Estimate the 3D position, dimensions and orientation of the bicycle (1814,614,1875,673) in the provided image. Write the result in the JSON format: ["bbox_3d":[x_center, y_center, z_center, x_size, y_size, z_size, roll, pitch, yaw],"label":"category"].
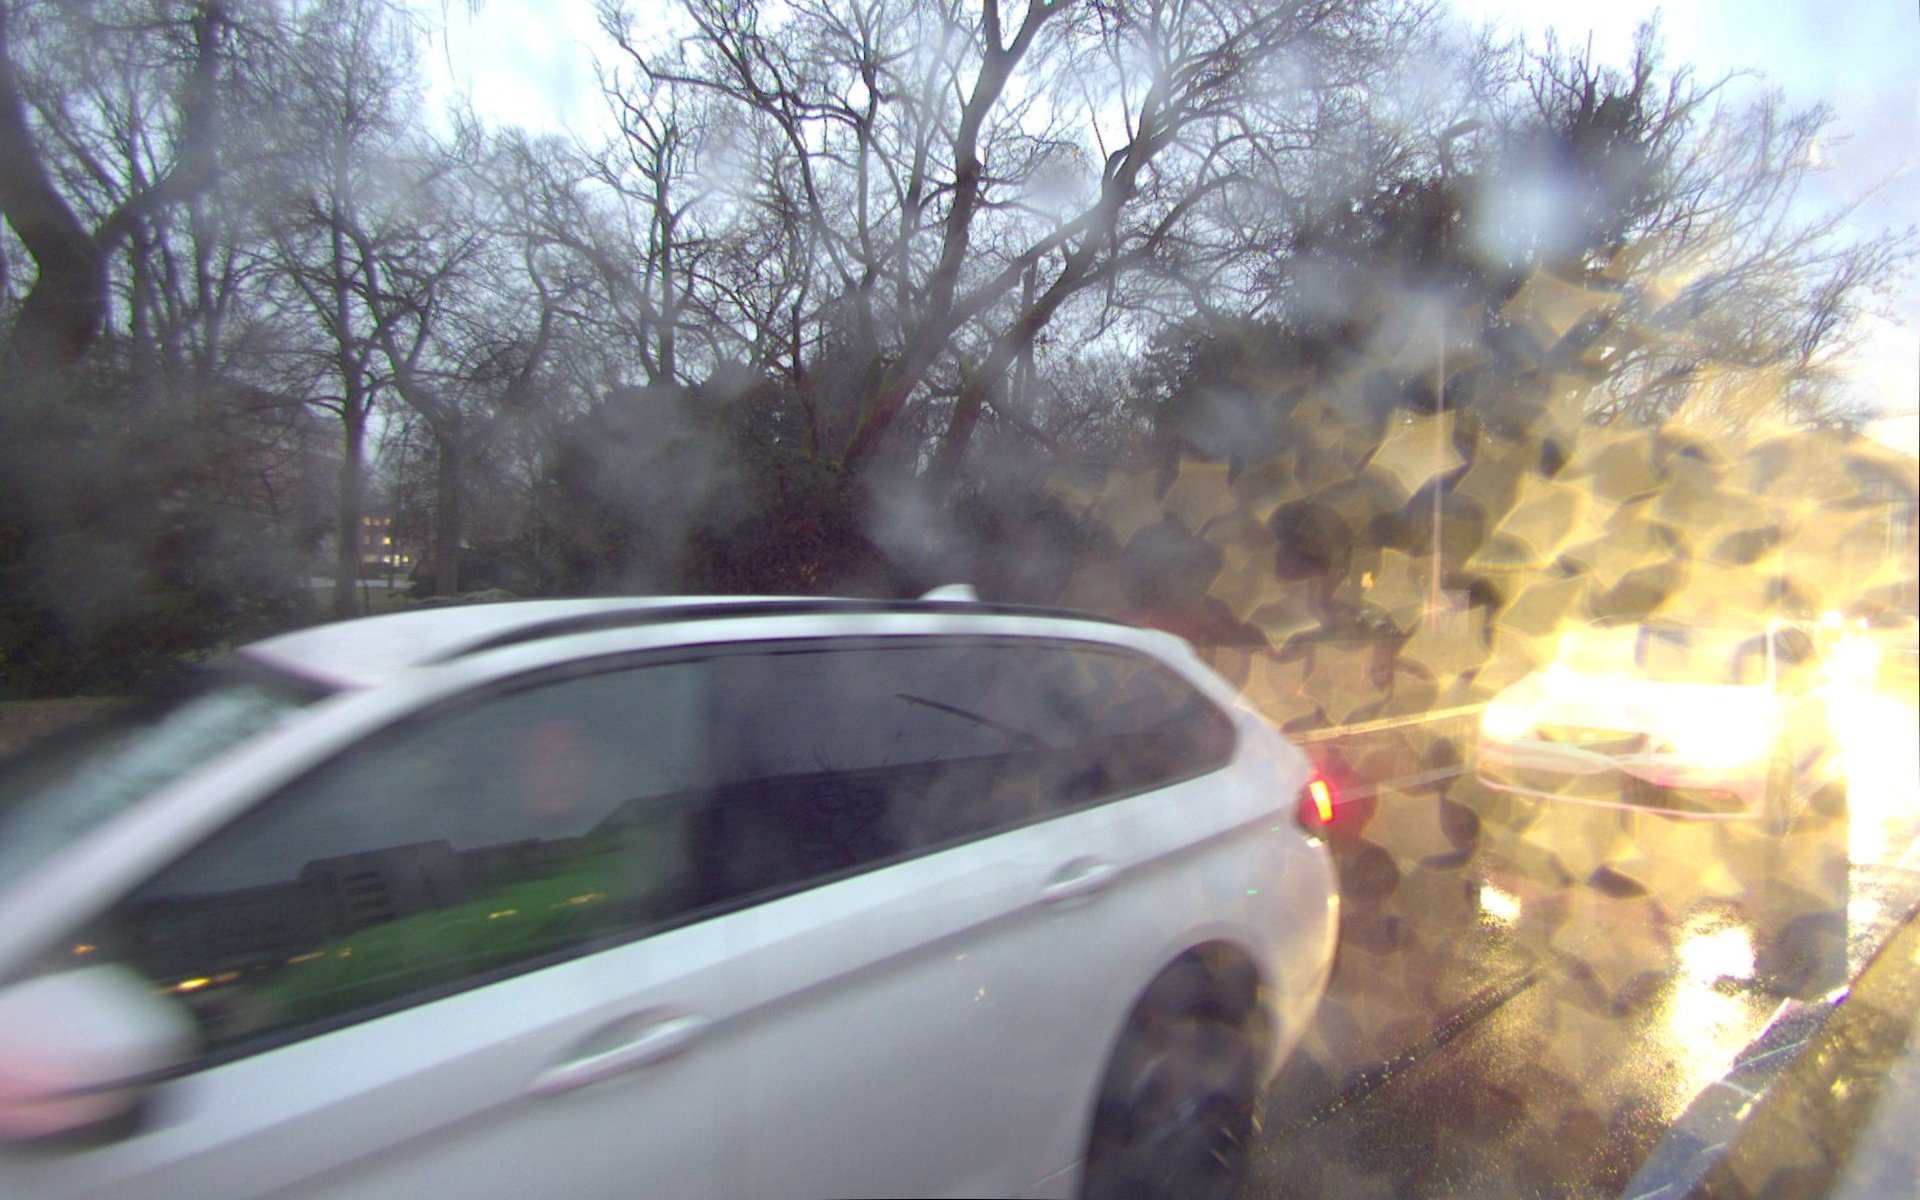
[{"bbox_3d":[24.271,1.156,27.743,3.334,1.469,0.966,0,0,-44],"label":"bicycle"}]

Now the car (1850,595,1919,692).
[{"bbox_3d":[18.169,0.742,18.778,4.196,1.648,2.070,0,0,-43],"label":"car"}]

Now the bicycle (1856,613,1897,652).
[{"bbox_3d":[26.893,0.939,29.700,1.691,1.055,0.691,0,0,-41],"label":"bicycle"}]

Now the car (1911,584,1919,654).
[{"bbox_3d":[24.794,0.438,24.802,2.068,1.648,4.200,0,0,45],"label":"car"}]

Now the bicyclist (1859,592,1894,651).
[{"bbox_3d":[26.865,0.625,29.666,0.582,1.706,0.691,0,0,-41],"label":"bicyclist"}]

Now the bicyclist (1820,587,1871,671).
[{"bbox_3d":[24.344,0.779,27.833,0.920,2.251,0.966,0,0,-44],"label":"bicyclist"}]

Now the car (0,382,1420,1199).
[{"bbox_3d":[-1.194,0.546,1.982,4.850,1.575,1.867,0,2,-40],"label":"car"}]

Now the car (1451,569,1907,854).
[{"bbox_3d":[5.648,0.615,7.756,4.097,1.580,1.885,0,2,-41],"label":"car"}]
